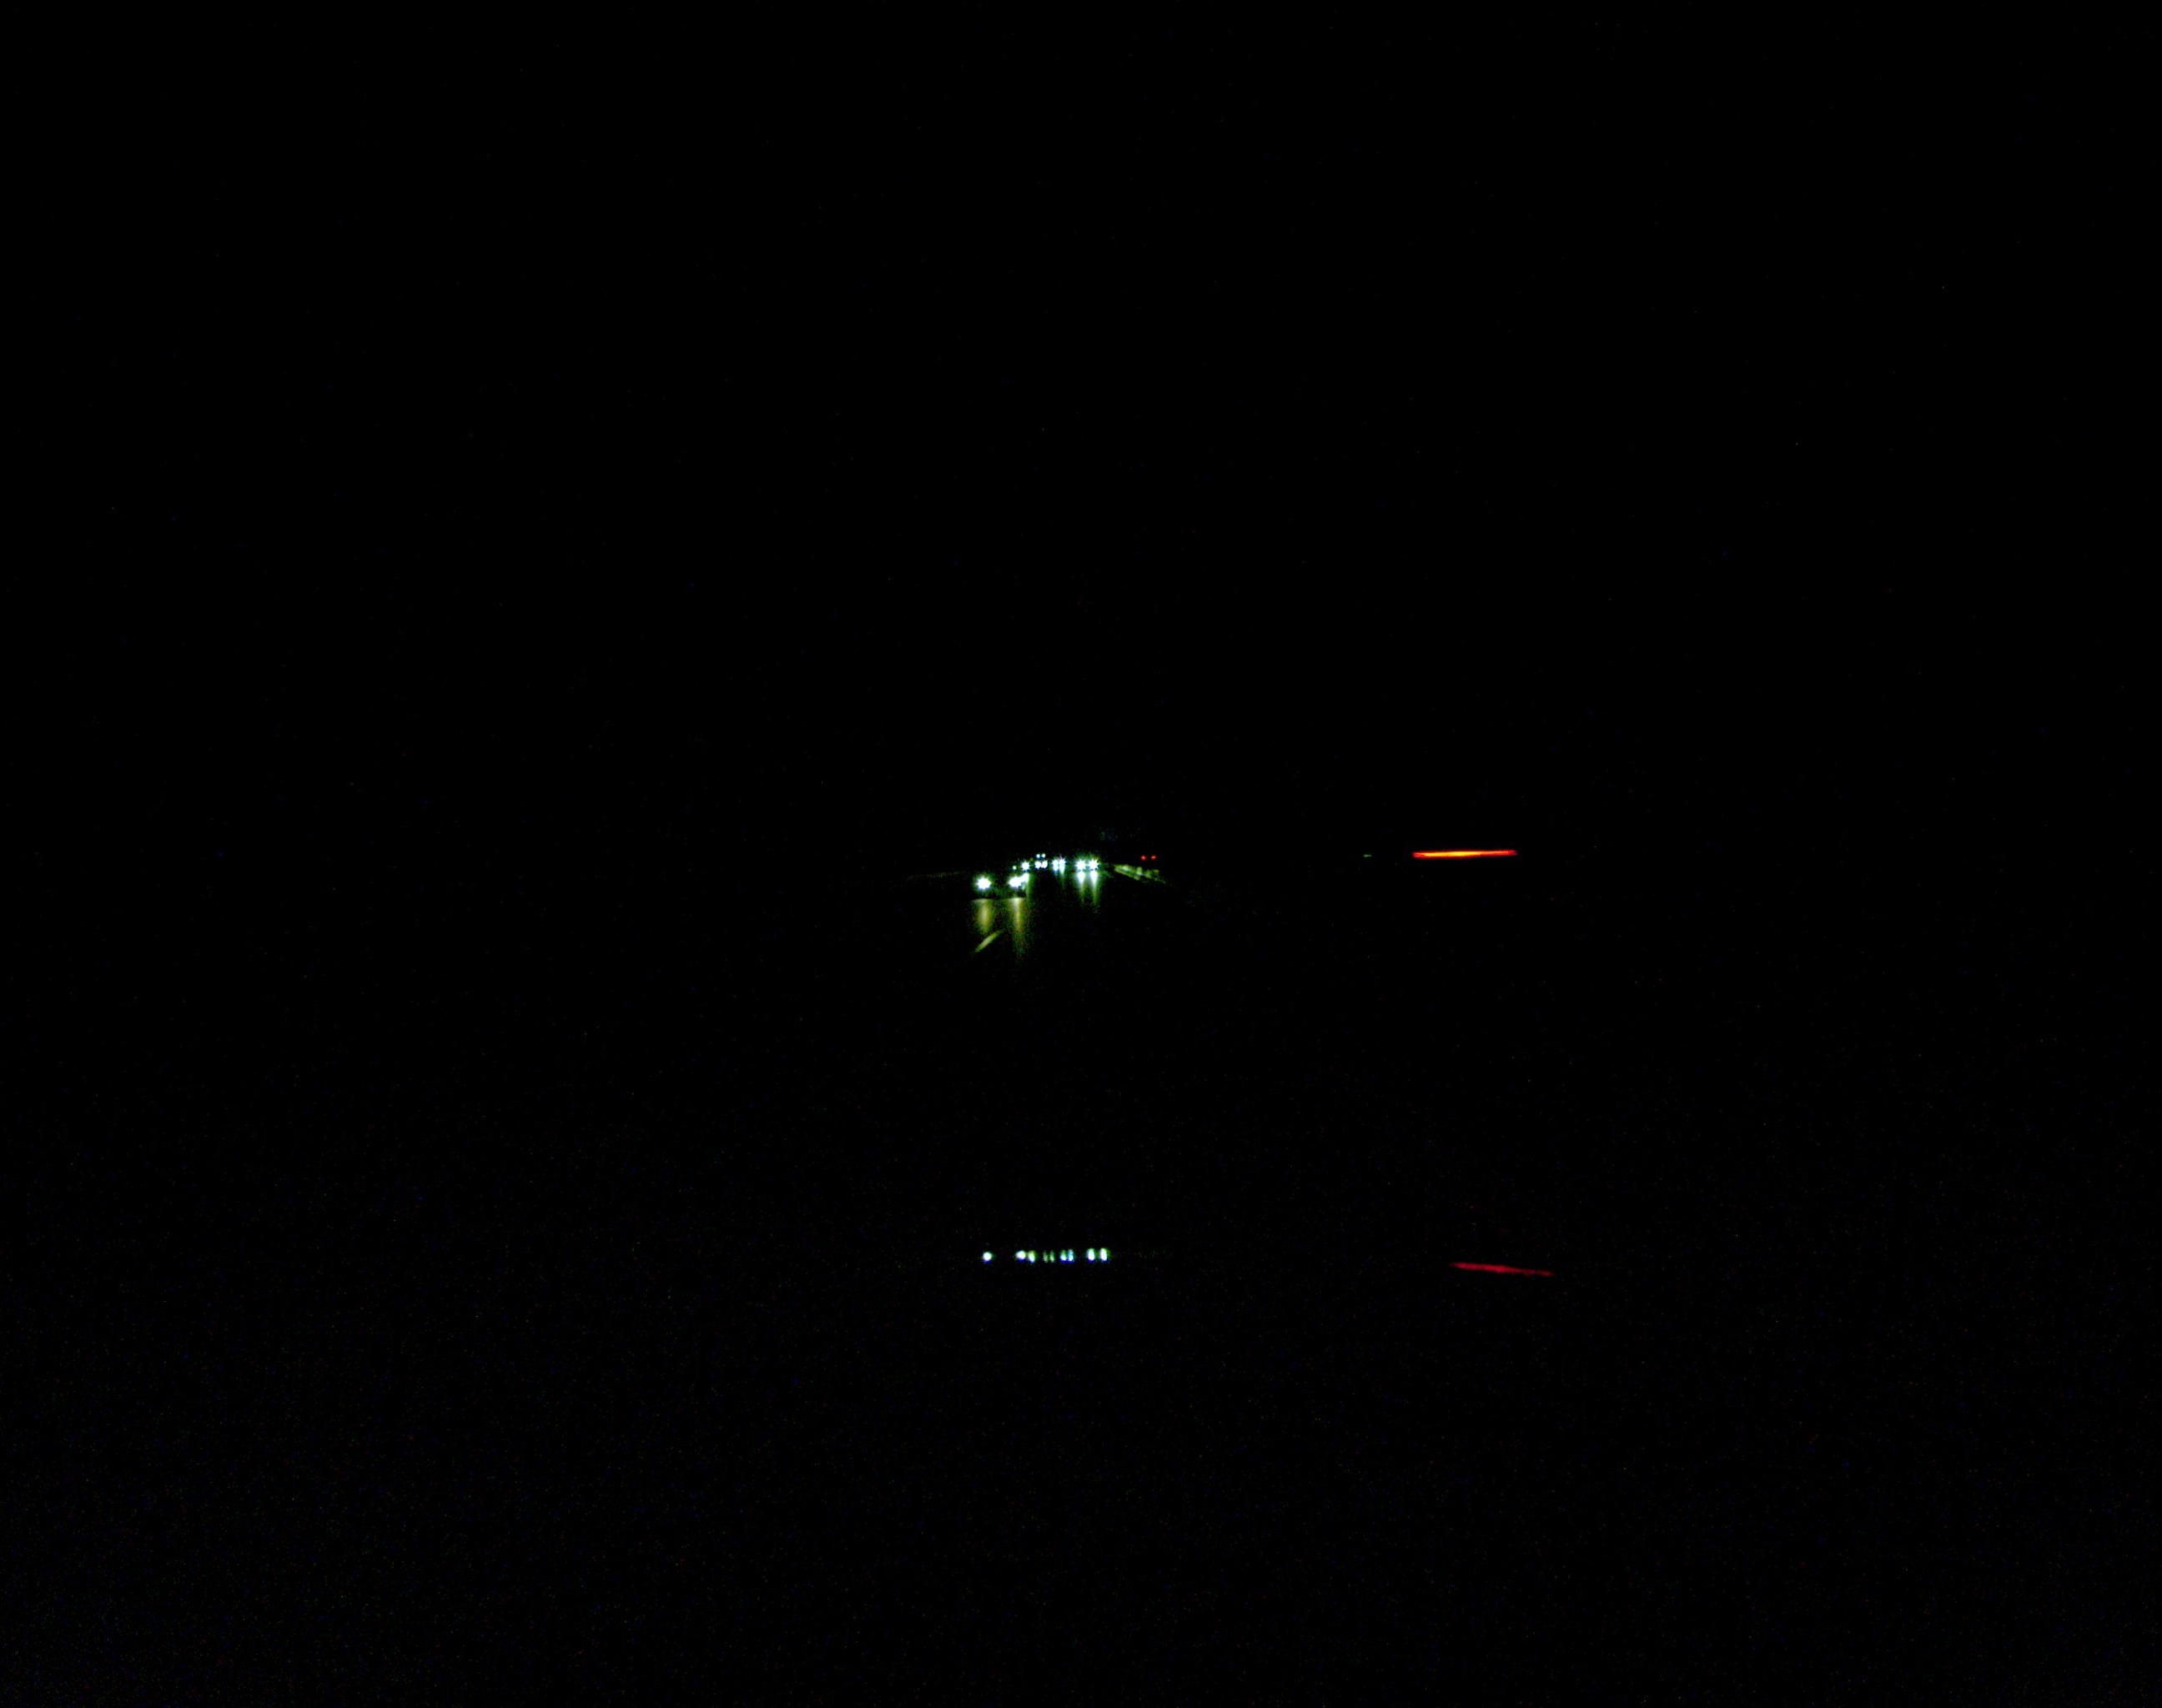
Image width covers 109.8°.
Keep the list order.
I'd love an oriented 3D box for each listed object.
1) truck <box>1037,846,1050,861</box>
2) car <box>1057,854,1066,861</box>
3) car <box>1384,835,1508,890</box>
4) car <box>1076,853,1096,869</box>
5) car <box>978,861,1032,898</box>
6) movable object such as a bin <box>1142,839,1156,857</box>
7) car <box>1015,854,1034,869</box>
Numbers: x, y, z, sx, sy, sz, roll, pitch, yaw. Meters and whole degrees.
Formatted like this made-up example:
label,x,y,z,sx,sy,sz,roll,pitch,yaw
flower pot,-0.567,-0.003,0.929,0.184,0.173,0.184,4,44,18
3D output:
label,x,y,z,sx,sy,sz,roll,pitch,yaw
truck,-11.955,-0.066,242.111,3.347,4.407,6.990,-4,0,-5
car,-4.455,0.827,176.610,1.939,1.608,4.000,-3,0,-1
car,11.928,0.267,25.236,1.938,1.552,4.453,-3,0,0
car,0.532,0.755,84.368,2.012,1.652,4.000,-3,0,2
car,-3.272,1.050,33.609,1.840,1.393,5.069,-4,0,-1
movable object such as a bin,14.758,-1.207,165.763,2.299,3.747,7.685,-2,0,0
car,-6.940,0.904,93.258,1.999,1.707,5.167,-4,0,-1
